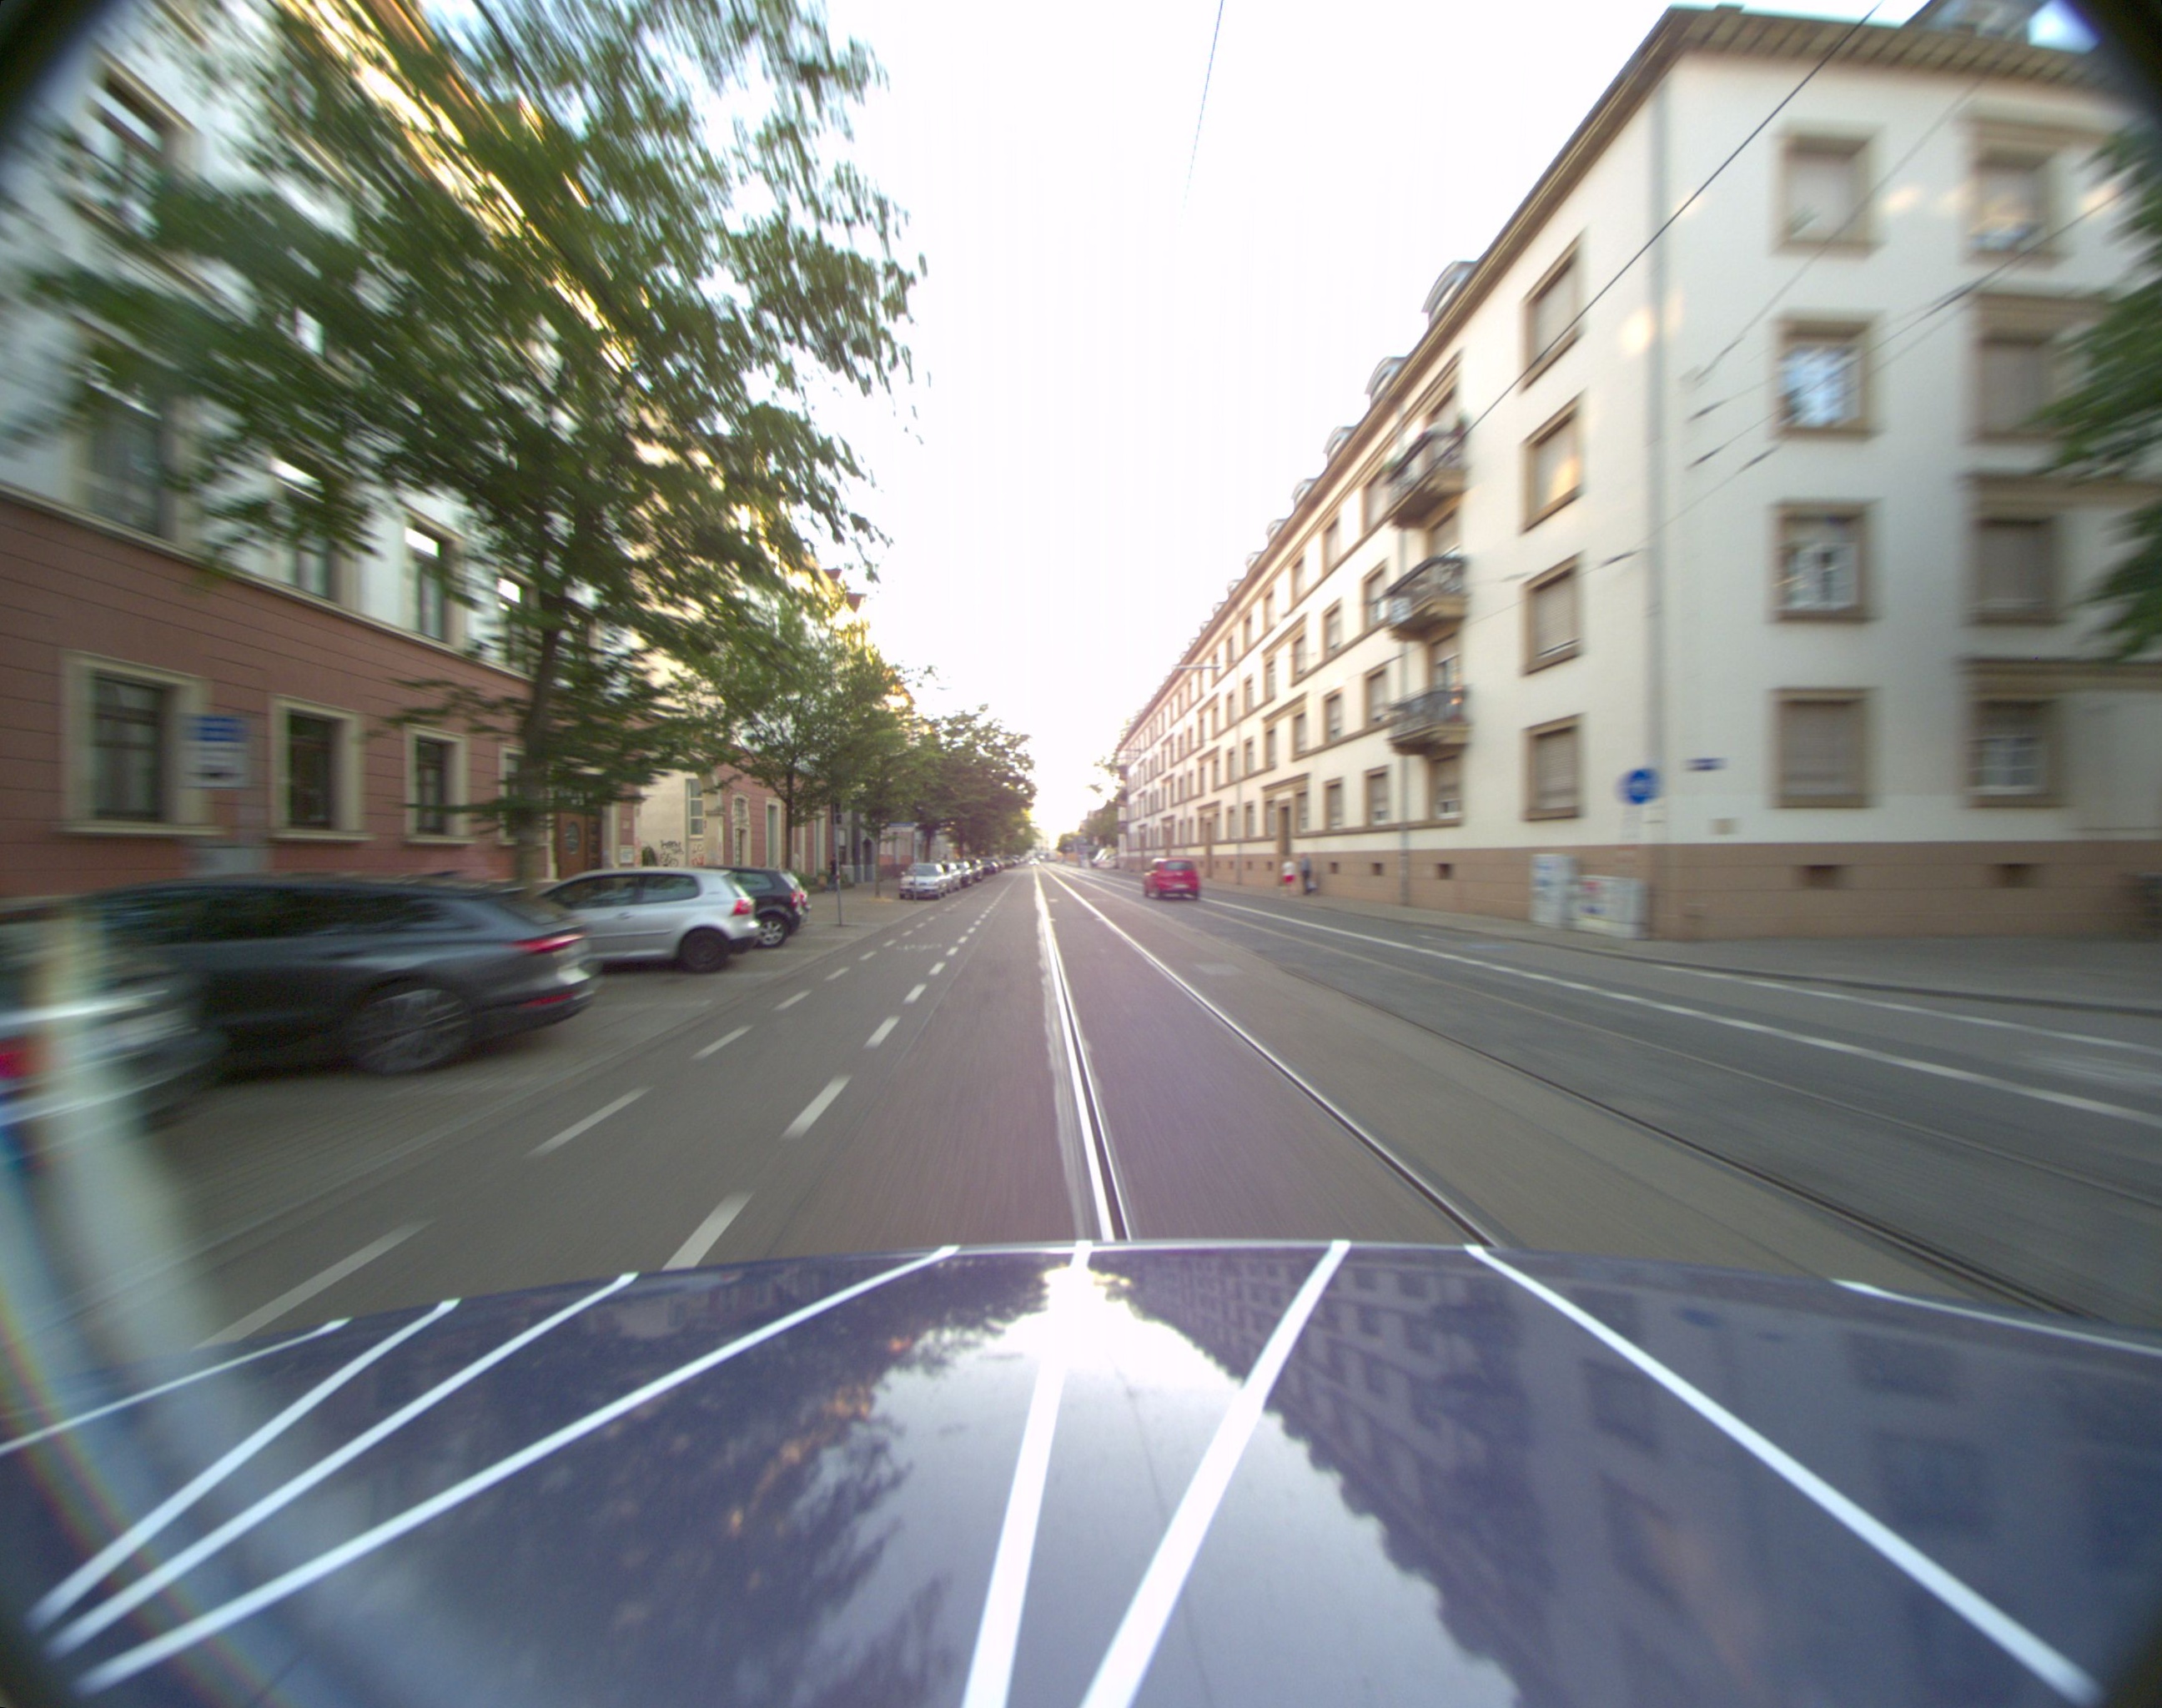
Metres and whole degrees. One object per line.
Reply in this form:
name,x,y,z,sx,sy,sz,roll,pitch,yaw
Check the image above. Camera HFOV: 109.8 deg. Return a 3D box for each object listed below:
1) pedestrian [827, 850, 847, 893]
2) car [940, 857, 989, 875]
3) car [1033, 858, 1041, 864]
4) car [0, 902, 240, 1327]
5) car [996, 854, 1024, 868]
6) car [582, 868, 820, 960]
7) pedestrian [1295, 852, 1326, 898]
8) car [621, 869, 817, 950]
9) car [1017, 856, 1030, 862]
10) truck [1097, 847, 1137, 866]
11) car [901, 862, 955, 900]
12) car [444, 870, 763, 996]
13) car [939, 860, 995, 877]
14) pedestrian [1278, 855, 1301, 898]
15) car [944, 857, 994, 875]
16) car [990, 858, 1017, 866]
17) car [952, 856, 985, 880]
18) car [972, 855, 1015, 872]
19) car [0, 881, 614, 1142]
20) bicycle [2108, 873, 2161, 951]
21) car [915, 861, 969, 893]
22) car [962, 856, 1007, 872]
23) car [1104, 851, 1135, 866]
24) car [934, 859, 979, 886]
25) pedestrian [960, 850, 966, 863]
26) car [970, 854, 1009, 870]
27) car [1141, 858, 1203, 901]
pedestrian,-10.471,0.734,32.626,0.682,1.805,0.600,-1,0,-3
car,-10.343,1.071,67.440,4.005,1.584,1.717,1,-2,-24
car,-11.224,1.803,194.781,1.999,1.674,3.999,-1,-1,-3
car,-6.251,1.009,2.682,4.006,1.483,1.826,1,1,-28
car,-14.468,1.433,154.352,5.238,2.605,1.925,1,0,-20
car,-6.660,0.977,13.534,3.572,1.420,1.665,1,0,-28
pedestrian,8.663,0.769,28.658,0.798,1.691,0.981,-1,0,-5
car,-7.359,1.076,15.752,3.497,1.421,1.617,0,2,-22
car,-18.379,1.633,243.586,3.993,1.680,1.722,1,-1,-3
truck,6.755,0.492,142.735,7.079,3.408,2.565,-1,0,-7
car,-6.194,1.064,31.098,1.623,1.373,3.775,1,0,-3
car,-6.527,0.988,10.787,3.572,1.507,1.739,1,0,-28
car,-9.391,1.185,62.686,4.270,1.380,1.617,-1,0,-29
pedestrian,7.936,0.859,28.910,0.592,1.600,0.811,-1,0,-5
car,-9.704,1.065,65.587,3.978,1.544,1.717,1,-1,-21
car,-14.435,1.510,141.508,4.644,1.508,1.806,1,-2,-30
car,-7.840,0.956,53.347,1.885,1.608,4.261,2,0,-4
car,-9.363,1.021,81.347,4.198,1.686,1.843,1,-1,-25
car,-6.336,1.003,5.856,4.465,1.507,2.059,1,0,-26
bicycle,17.918,0.941,12.610,1.686,1.206,0.603,0,0,-20
car,-6.646,1.059,36.827,1.785,1.373,4.690,1,0,-1
car,-9.445,0.992,74.575,4.391,1.455,1.719,0,-1,-7
car,6.928,0.746,136.895,5.235,2.581,2.228,-1,0,-7
car,-7.124,1.029,43.808,1.999,1.480,5.034,0,0,-3
pedestrian,-17.569,0.384,113.095,0.559,1.820,0.613,-1,-3,34
car,-10.445,0.899,86.401,4.005,1.805,1.820,1,-1,-24
car,3.417,0.935,29.167,1.564,1.549,3.753,1,0,-5
